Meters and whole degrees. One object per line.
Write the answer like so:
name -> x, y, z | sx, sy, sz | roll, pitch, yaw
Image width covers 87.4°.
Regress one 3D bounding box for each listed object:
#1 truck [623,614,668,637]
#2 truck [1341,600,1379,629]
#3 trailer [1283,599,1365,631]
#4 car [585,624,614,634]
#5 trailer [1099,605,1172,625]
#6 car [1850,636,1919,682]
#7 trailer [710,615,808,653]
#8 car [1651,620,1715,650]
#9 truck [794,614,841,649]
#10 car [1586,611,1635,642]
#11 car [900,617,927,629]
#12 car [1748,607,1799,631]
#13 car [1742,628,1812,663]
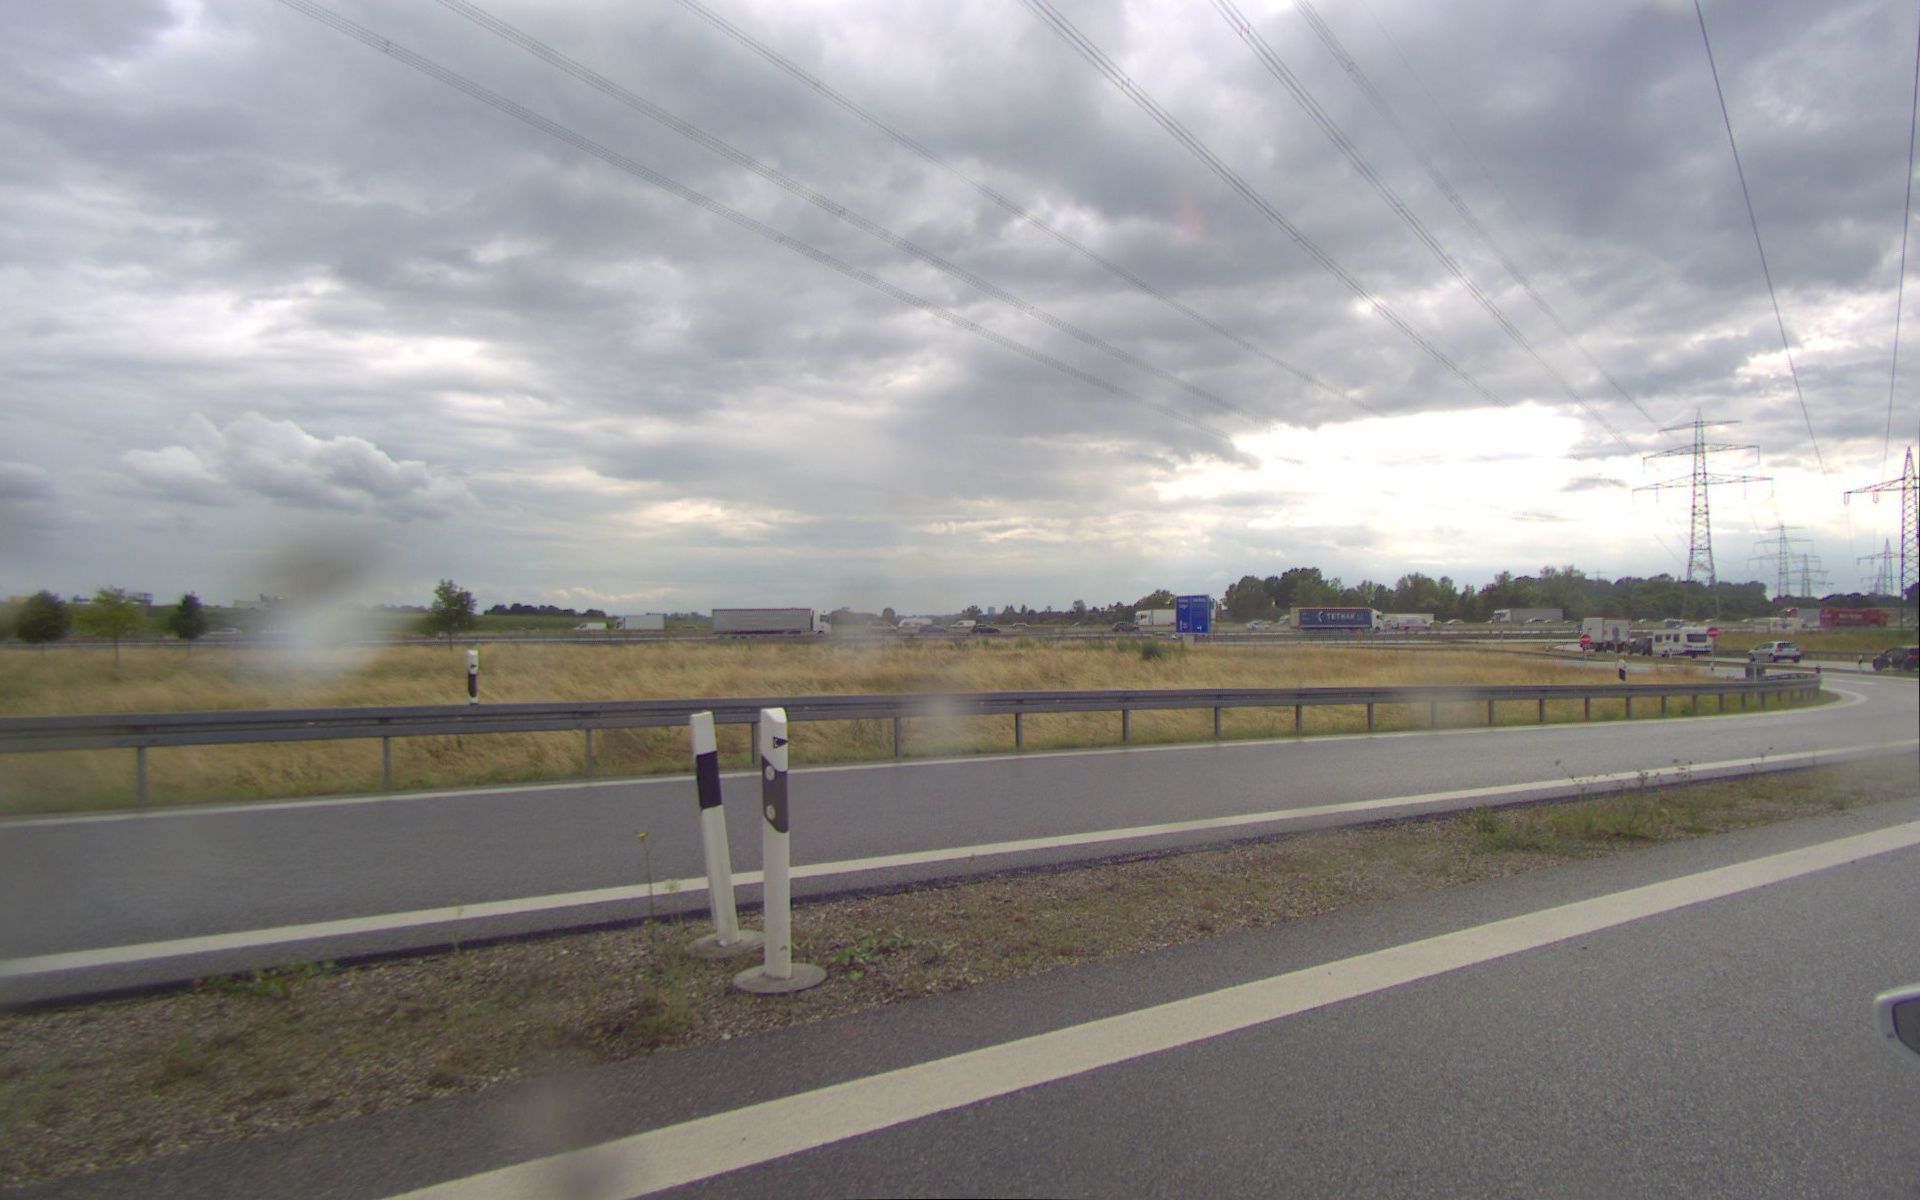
truck -> -52.669, 4.198, 168.118 | 6.988, 3.517, 1.994 | -2, 0, -15
truck -> 65.932, 2.337, 165.626 | 4.989, 4.539, 3.068 | -2, 0, -16
trailer -> 59.429, 2.356, 163.890 | 13.080, 4.697, 3.048 | -2, 0, -15
car -> -55.817, 4.526, 155.388 | 3.930, 1.412, 1.996 | -2, 0, -12
trailer -> 33.544, 2.904, 191.626 | 13.865, 3.720, 2.850 | 0, 0, -15
car -> 55.420, 3.450, 59.330 | 2.312, 2.338, 5.129 | -2, 0, 18
trailer -> -28.115, 4.667, 140.540 | 13.166, 4.678, 3.474 | -2, 0, -15
car -> 62.249, 2.973, 86.566 | 2.311, 2.338, 5.131 | -2, 0, 8
truck -> -20.234, 4.426, 142.614 | 6.163, 4.627, 3.341 | -2, 0, -15
car -> 69.046, 2.760, 106.797 | 3.086, 2.991, 7.204 | -2, 0, 23
car -> -8.326, 4.119, 180.323 | 4.669, 2.040, 1.997 | -2, 0, -10
car -> 131.548, 3.105, 162.463 | 8.935, 3.658, 3.368 | 1, -2, -29
car -> 60.714, 3.329, 74.772 | 2.312, 2.338, 5.129 | -2, 0, 18
